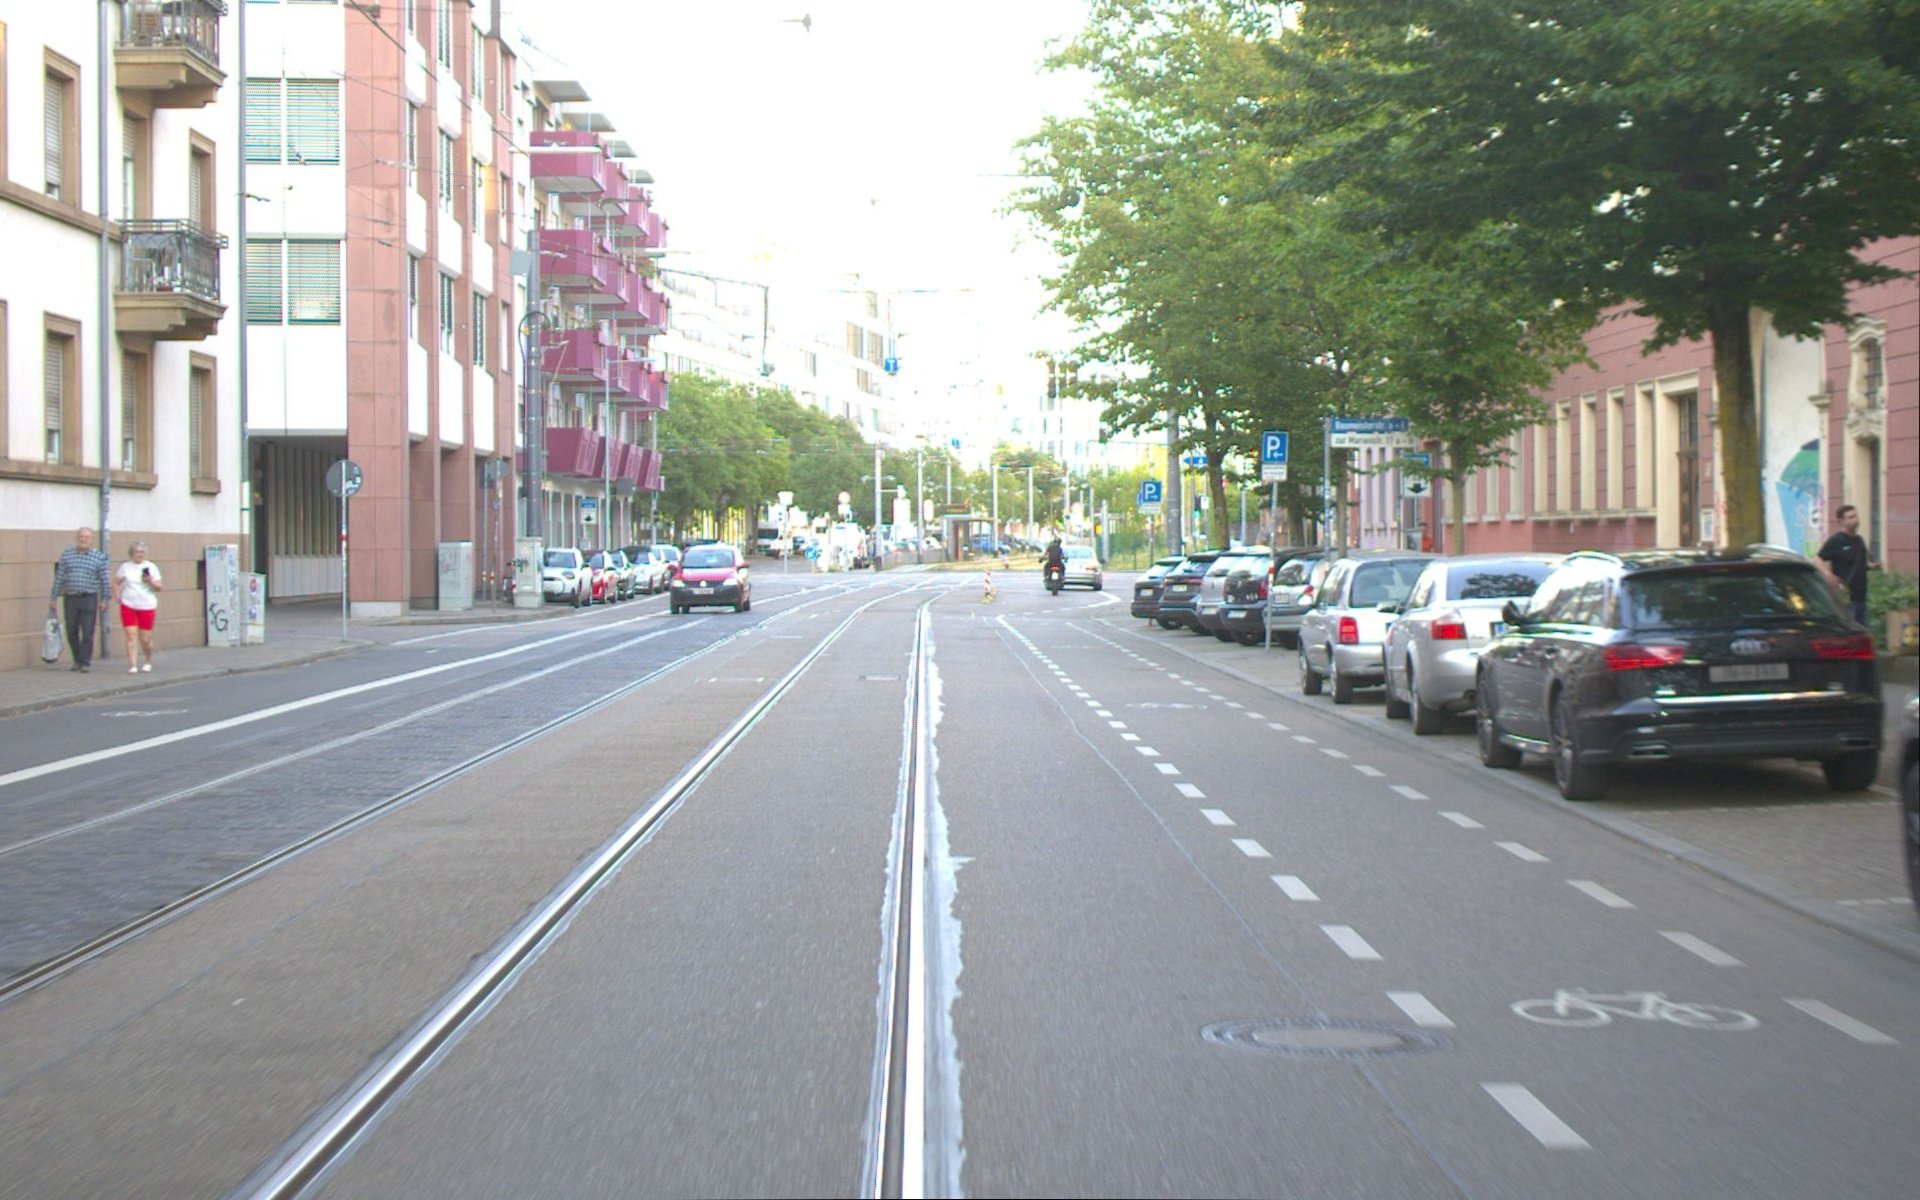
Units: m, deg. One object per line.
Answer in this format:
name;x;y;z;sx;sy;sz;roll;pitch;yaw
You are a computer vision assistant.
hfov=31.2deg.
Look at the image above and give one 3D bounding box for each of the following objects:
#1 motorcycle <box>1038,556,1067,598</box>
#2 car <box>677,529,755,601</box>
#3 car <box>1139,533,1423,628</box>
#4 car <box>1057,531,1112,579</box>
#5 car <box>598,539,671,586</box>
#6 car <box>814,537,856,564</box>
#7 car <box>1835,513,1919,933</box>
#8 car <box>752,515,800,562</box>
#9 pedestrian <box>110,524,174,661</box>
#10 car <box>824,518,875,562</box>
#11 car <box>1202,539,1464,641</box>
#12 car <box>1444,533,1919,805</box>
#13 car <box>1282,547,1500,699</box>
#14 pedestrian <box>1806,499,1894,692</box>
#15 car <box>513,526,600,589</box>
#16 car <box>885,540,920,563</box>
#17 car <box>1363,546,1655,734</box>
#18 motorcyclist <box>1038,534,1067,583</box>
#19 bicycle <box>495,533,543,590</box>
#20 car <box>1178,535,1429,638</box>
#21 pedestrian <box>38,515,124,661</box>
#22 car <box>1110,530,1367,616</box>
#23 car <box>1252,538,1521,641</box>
motorcycle;2.786;-0.703;103.321;0.828;1.236;2.491;0;1;3
car;-5.554;-0.824;78.540;1.559;1.552;3.755;-2;1;-2
car;5.580;-0.360;59.721;4.443;1.511;2.064;-2;1;-23
car;4.126;-1.513;114.229;1.717;1.550;4.204;1;1;1
car;-10.301;-1.191;108.918;1.691;1.409;4.677;2;1;2
car;-6.944;-2.768;191.319;1.683;1.434;4.125;0;1;7
car;4.630;0.459;12.102;1.879;1.612;4.262;-3;1;-1
car;-12.482;-4.207;233.687;2.202;3.141;6.141;0;1;7
pedestrian;-9.681;-0.097;40.703;0.590;1.604;0.811;0;1;-3
car;-6.305;-3.447;197.031;2.461;2.474;5.808;0;1;3
car;5.624;-0.172;51.881;3.554;1.424;1.669;-2;1;-25
car;4.426;0.344;21.709;1.993;1.484;5.036;-1;1;0
car;4.254;0.191;34.385;1.619;1.376;3.776;-2;1;-1
pedestrian;8.421;-0.044;32.544;0.680;1.810;0.600;0;1;0
car;-10.366;-1.109;88.517;1.717;1.550;4.204;1;1;0
car;-3.606;-3.072;216.274;1.683;1.434;4.125;0;1;7
car;4.487;0.272;28.733;1.780;1.376;4.691;-2;1;2
motorcyclist;2.787;-1.256;103.460;0.828;1.468;1.207;0;1;3
bicycle;-10.759;-0.953;83.909;0.609;1.373;2.258;0;1;7
car;5.452;-0.234;54.571;3.554;1.511;1.744;-2;1;-25
pedestrian;-10.394;-0.149;40.668;0.795;1.695;0.981;0;1;-3
car;5.328;-0.534;65.711;4.604;1.452;1.711;-3;2;-25
car;6.160;-0.148;49.754;3.481;1.424;1.621;-1;-1;-19
